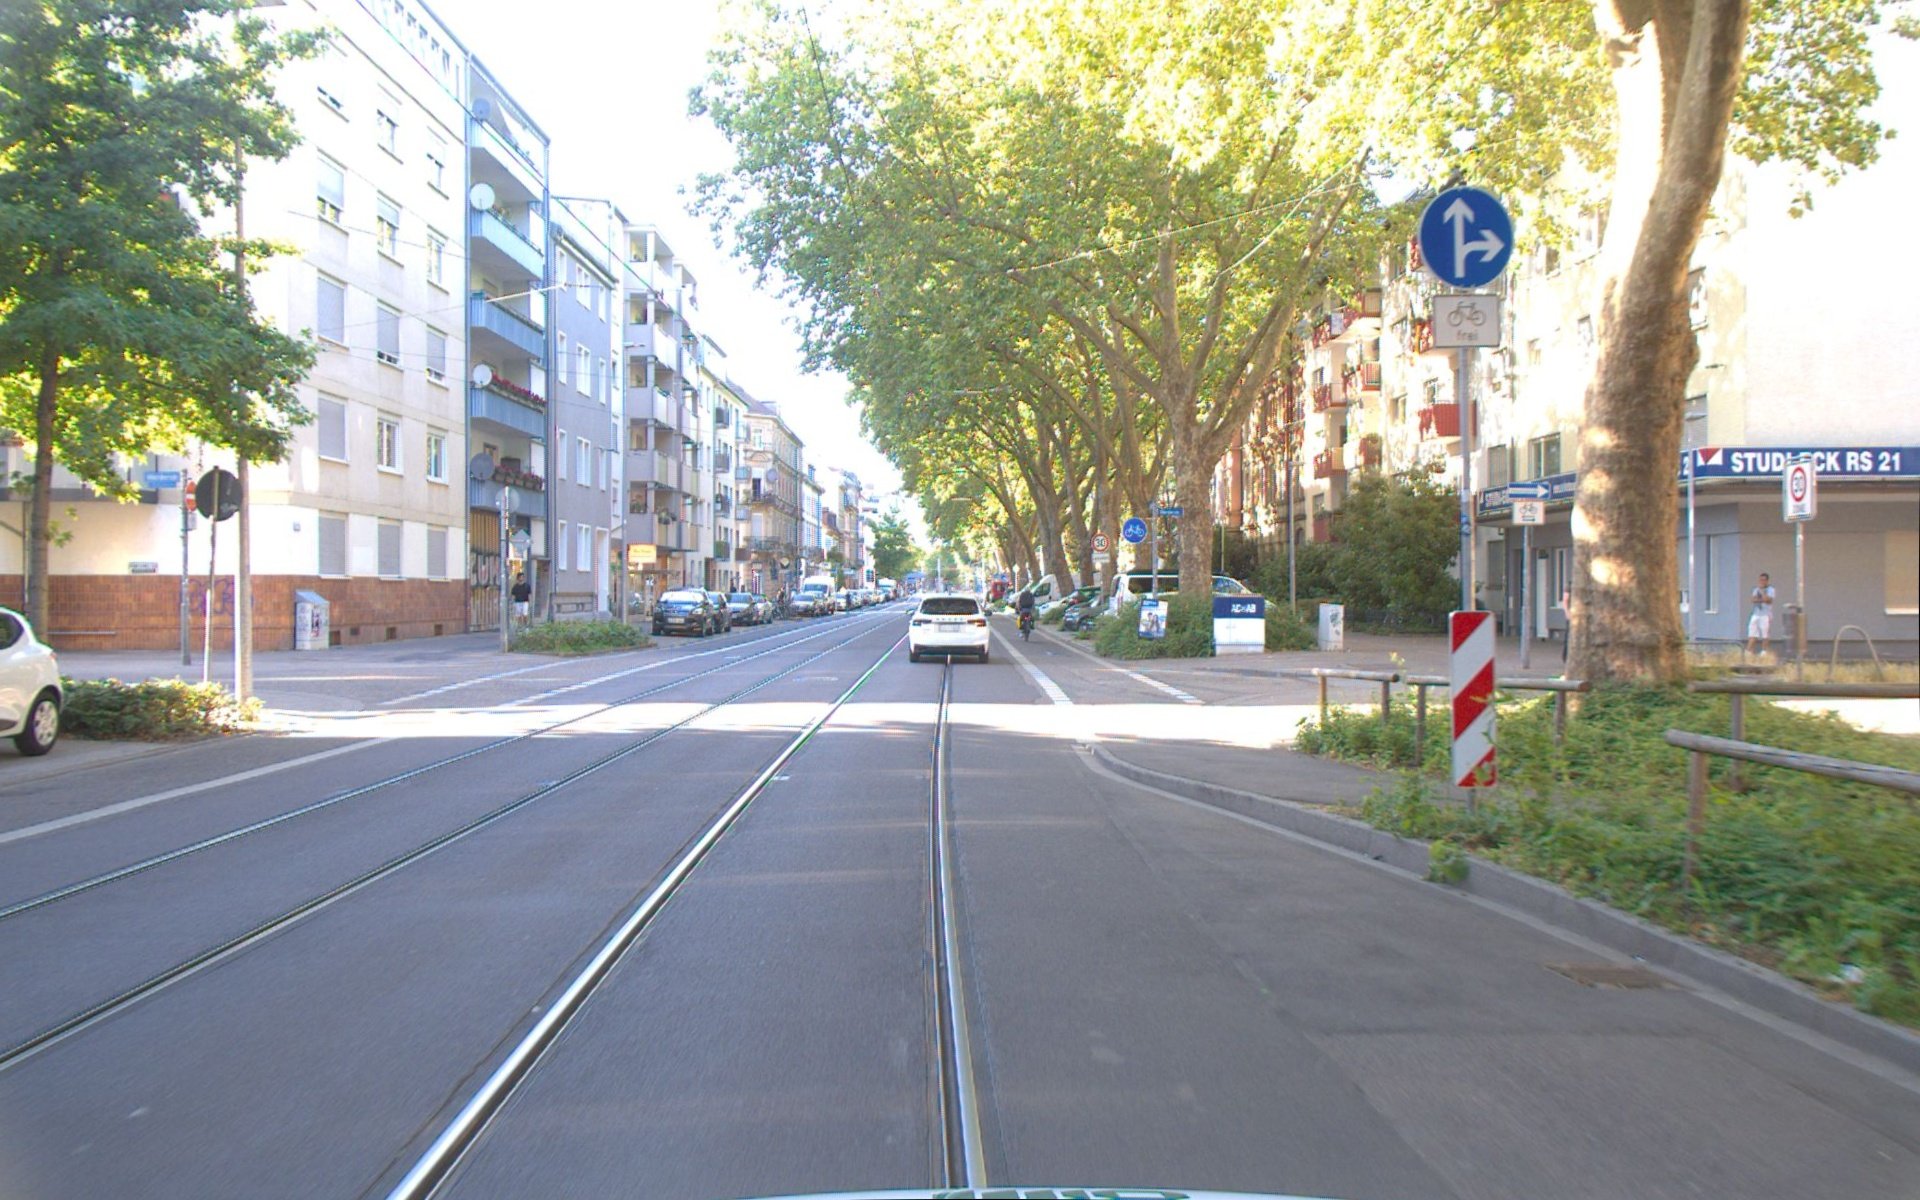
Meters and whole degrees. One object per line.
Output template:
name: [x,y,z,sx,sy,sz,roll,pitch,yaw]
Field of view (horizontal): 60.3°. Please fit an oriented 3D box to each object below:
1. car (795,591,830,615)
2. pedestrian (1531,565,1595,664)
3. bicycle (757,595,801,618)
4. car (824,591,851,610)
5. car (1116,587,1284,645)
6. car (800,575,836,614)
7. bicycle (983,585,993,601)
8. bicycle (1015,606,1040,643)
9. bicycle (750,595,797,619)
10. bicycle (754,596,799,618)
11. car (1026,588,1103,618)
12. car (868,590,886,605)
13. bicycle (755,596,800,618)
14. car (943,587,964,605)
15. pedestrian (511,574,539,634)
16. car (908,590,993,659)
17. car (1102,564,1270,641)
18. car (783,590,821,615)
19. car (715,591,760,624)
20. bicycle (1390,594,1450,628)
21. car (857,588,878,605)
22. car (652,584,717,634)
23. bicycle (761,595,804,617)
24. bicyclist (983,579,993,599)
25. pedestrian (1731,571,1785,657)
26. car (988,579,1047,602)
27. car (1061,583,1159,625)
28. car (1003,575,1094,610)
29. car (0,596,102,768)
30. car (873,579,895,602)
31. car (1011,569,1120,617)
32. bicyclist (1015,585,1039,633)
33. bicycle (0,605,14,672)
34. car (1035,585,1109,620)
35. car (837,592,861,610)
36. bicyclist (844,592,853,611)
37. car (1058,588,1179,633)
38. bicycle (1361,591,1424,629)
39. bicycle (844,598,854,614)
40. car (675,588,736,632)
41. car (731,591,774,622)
car: [-9.767,0.173,109.573,1.953,1.557,4.000,0,0,0]
pedestrian: [11.846,0.270,32.505,0.751,1.899,1.187,-1,0,-4]
bicycle: [-10.337,0.382,94.513,2.476,1.193,0.718,2,-2,-6]
car: [-10.066,0.051,135.842,1.953,1.557,4.000,0,0,0]
car: [6.412,0.410,44.492,4.210,1.505,1.830,0,0,-2]
car: [-9.896,-0.397,115.516,2.134,2.642,4.948,0,0,0]
bicycle: [1.984,-0.475,116.353,0.636,1.089,1.582,-1,0,-2]
bicycle: [2.060,0.738,50.705,0.667,1.089,1.781,-1,0,0]
bicycle: [-10.345,0.394,91.756,2.509,1.193,0.870,3,-2,-40]
bicycle: [-10.288,0.394,92.639,2.476,1.193,0.718,2,-2,-7]
car: [5.741,0.161,91.223,3.971,1.567,1.997,0,0,-6]
car: [-9.913,-0.300,197.671,1.953,1.668,4.000,1,0,0]
bicycle: [-10.307,0.390,93.525,2.476,1.193,0.718,2,-2,-6]
car: [-0.573,-0.320,140.080,1.725,1.501,4.000,-1,0,0]
pedestrian: [-13.411,0.119,50.995,0.650,1.858,0.965,0,0,-2]
car: [-0.193,0.488,35.809,1.725,1.408,4.000,-1,0,0]
car: [6.384,0.069,47.070,4.453,2.113,2.000,0,0,-3]
car: [-9.892,0.159,103.791,1.953,1.557,4.000,0,0,0]
car: [-10.008,0.319,74.504,1.620,1.462,3.835,0,0,-2]
bicycle: [15.167,0.369,54.548,1.756,1.060,0.617,-2,0,-5]
car: [-9.590,-0.380,171.846,1.953,1.668,4.000,1,0,0]
car: [-9.793,0.298,58.985,1.668,1.679,4.240,2,0,-2]
bicycle: [-10.344,0.380,96.417,2.476,1.193,0.718,2,-2,-7]
bicyclist: [1.975,-0.793,116.364,0.636,1.367,0.934,-1,0,-2]
pedestrian: [15.737,0.276,32.626,0.731,1.673,0.666,0,0,1]
car: [5.980,-1.002,172.842,6.007,2.322,2.528,0,0,-2]
car: [6.265,0.144,69.195,3.906,1.709,1.723,0,0,-2]
car: [5.988,-0.545,112.677,6.007,2.322,2.528,0,0,-2]
car: [-9.381,0.715,14.436,1.679,1.489,4.373,3,0,-4]
car: [-10.988,-1.321,238.396,2.907,3.211,5.846,1,0,0]
car: [5.959,-0.400,94.058,6.007,2.681,2.528,0,0,-2]
bicyclist: [2.055,0.265,50.831,0.664,1.468,1.047,-1,0,0]
bicycle: [-18.226,0.674,29.025,2.737,1.177,0.922,0,0,2]
car: [5.524,0.122,81.801,3.559,1.695,1.822,0,0,2]
car: [-10.030,0.097,149.805,1.953,1.557,4.000,0,0,0]
bicyclist: [-7.782,0.128,115.856,0.585,1.308,0.916,-1,0,-3]
car: [5.549,0.358,58.274,4.059,1.540,1.930,0,0,-2]
bicycle: [14.271,0.343,54.606,1.908,1.177,0.571,-2,0,-8]
bicycle: [-7.774,0.404,115.805,0.593,1.089,1.582,-1,0,-3]
car: [-9.793,0.348,63.970,1.667,1.571,4.241,2,0,0]
car: [-9.939,0.297,79.575,1.454,1.428,3.991,0,0,2]
